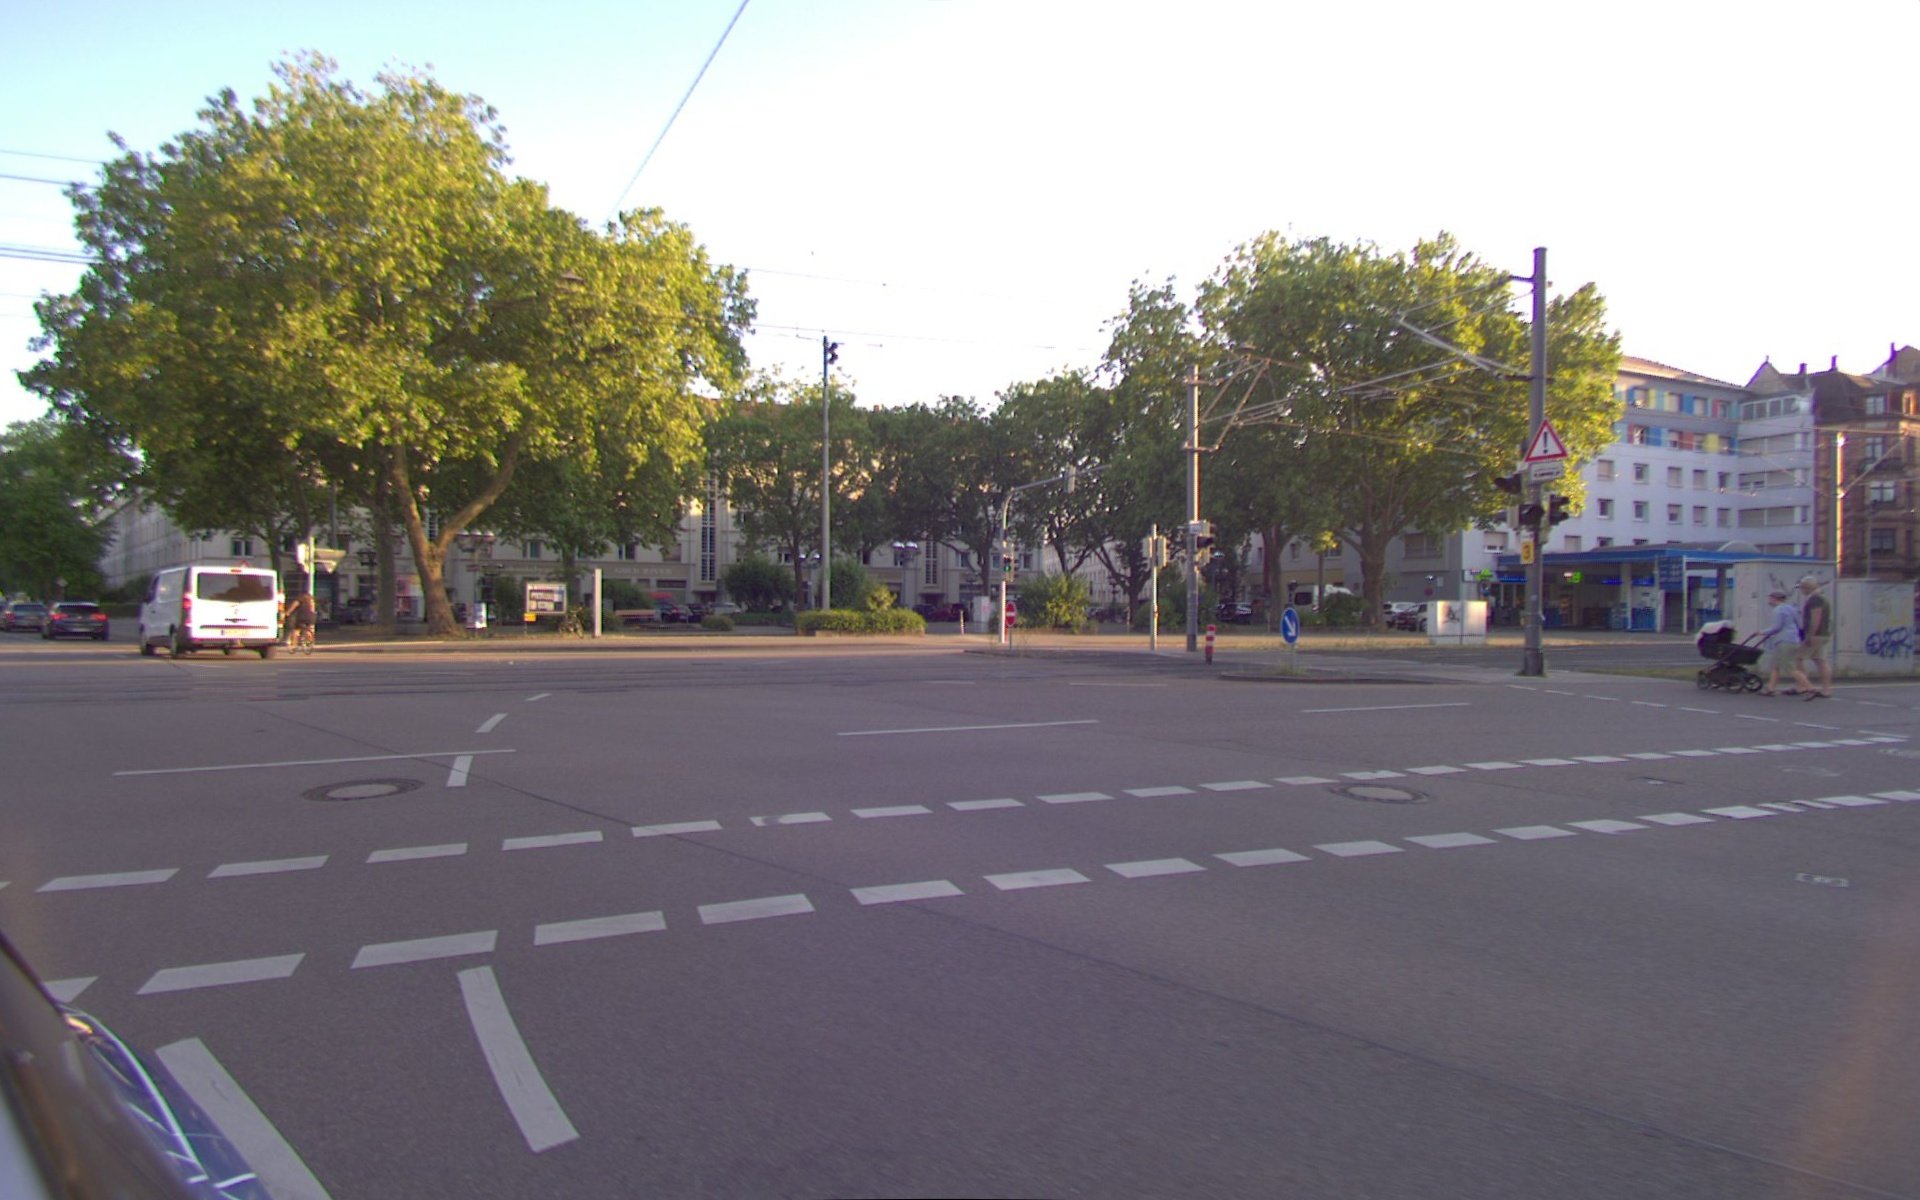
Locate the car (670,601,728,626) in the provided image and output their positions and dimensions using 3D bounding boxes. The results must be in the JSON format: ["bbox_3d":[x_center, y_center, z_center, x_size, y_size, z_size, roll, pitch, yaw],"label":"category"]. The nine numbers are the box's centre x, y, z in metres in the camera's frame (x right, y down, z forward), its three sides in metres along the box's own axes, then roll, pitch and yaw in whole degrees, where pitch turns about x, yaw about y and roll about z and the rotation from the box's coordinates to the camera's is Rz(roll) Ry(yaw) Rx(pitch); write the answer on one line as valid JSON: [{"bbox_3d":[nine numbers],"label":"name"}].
[{"bbox_3d":[-18.725,0.970,72.628,3.932,1.719,2.006,1,0,-15],"label":"car"}]

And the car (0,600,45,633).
[{"bbox_3d":[-46.838,0.811,50.315,1.769,1.592,4.002,1,-1,-45],"label":"car"}]

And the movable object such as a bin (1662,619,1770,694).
[{"bbox_3d":[12.146,0.882,16.289,0.847,1.128,1.141,1,-1,-28],"label":"movable object such as a bin"}]

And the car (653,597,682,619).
[{"bbox_3d":[-24.241,0.683,83.895,1.965,1.752,4.013,1,0,-21],"label":"car"}]

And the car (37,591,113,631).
[{"bbox_3d":[-34.491,0.428,39.406,1.971,1.470,4.002,1,-1,-45],"label":"car"}]

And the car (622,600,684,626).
[{"bbox_3d":[-20.792,0.865,68.741,3.932,1.719,2.006,1,0,-15],"label":"car"}]

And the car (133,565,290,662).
[{"bbox_3d":[-16.975,0.295,22.864,4.594,1.971,1.966,0,-1,42],"label":"car"}]

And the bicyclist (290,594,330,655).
[{"bbox_3d":[-16.355,0.618,25.468,0.740,1.503,0.649,0,-1,40],"label":"bicyclist"}]

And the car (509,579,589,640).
[{"bbox_3d":[-14.451,0.322,35.487,1.837,2.029,3.821,1,-1,-33],"label":"car"}]

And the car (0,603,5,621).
[{"bbox_3d":[-79.608,0.974,82.885,1.970,1.438,4.003,1,-1,-44],"label":"car"}]

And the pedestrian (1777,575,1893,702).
[{"bbox_3d":[13.368,0.566,15.488,0.699,1.861,1.163,1,-1,-28],"label":"pedestrian"}]

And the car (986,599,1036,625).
[{"bbox_3d":[3.622,0.842,73.045,1.965,1.851,4.331,1,-1,-22],"label":"car"}]

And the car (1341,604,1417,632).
[{"bbox_3d":[24.199,1.033,58.452,3.930,1.586,1.790,1,-1,-21],"label":"car"}]

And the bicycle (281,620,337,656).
[{"bbox_3d":[-16.426,0.941,25.522,1.941,0.841,0.649,0,-1,41],"label":"bicycle"}]

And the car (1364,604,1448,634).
[{"bbox_3d":[24.656,1.048,55.963,3.930,1.625,2.007,1,-1,-21],"label":"car"}]

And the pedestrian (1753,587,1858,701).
[{"bbox_3d":[12.666,0.638,15.175,0.708,1.646,1.010,1,-1,-28],"label":"pedestrian"}]

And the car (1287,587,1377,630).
[{"bbox_3d":[23.567,0.557,64.096,5.482,2.638,2.007,1,-1,-25],"label":"car"}]
